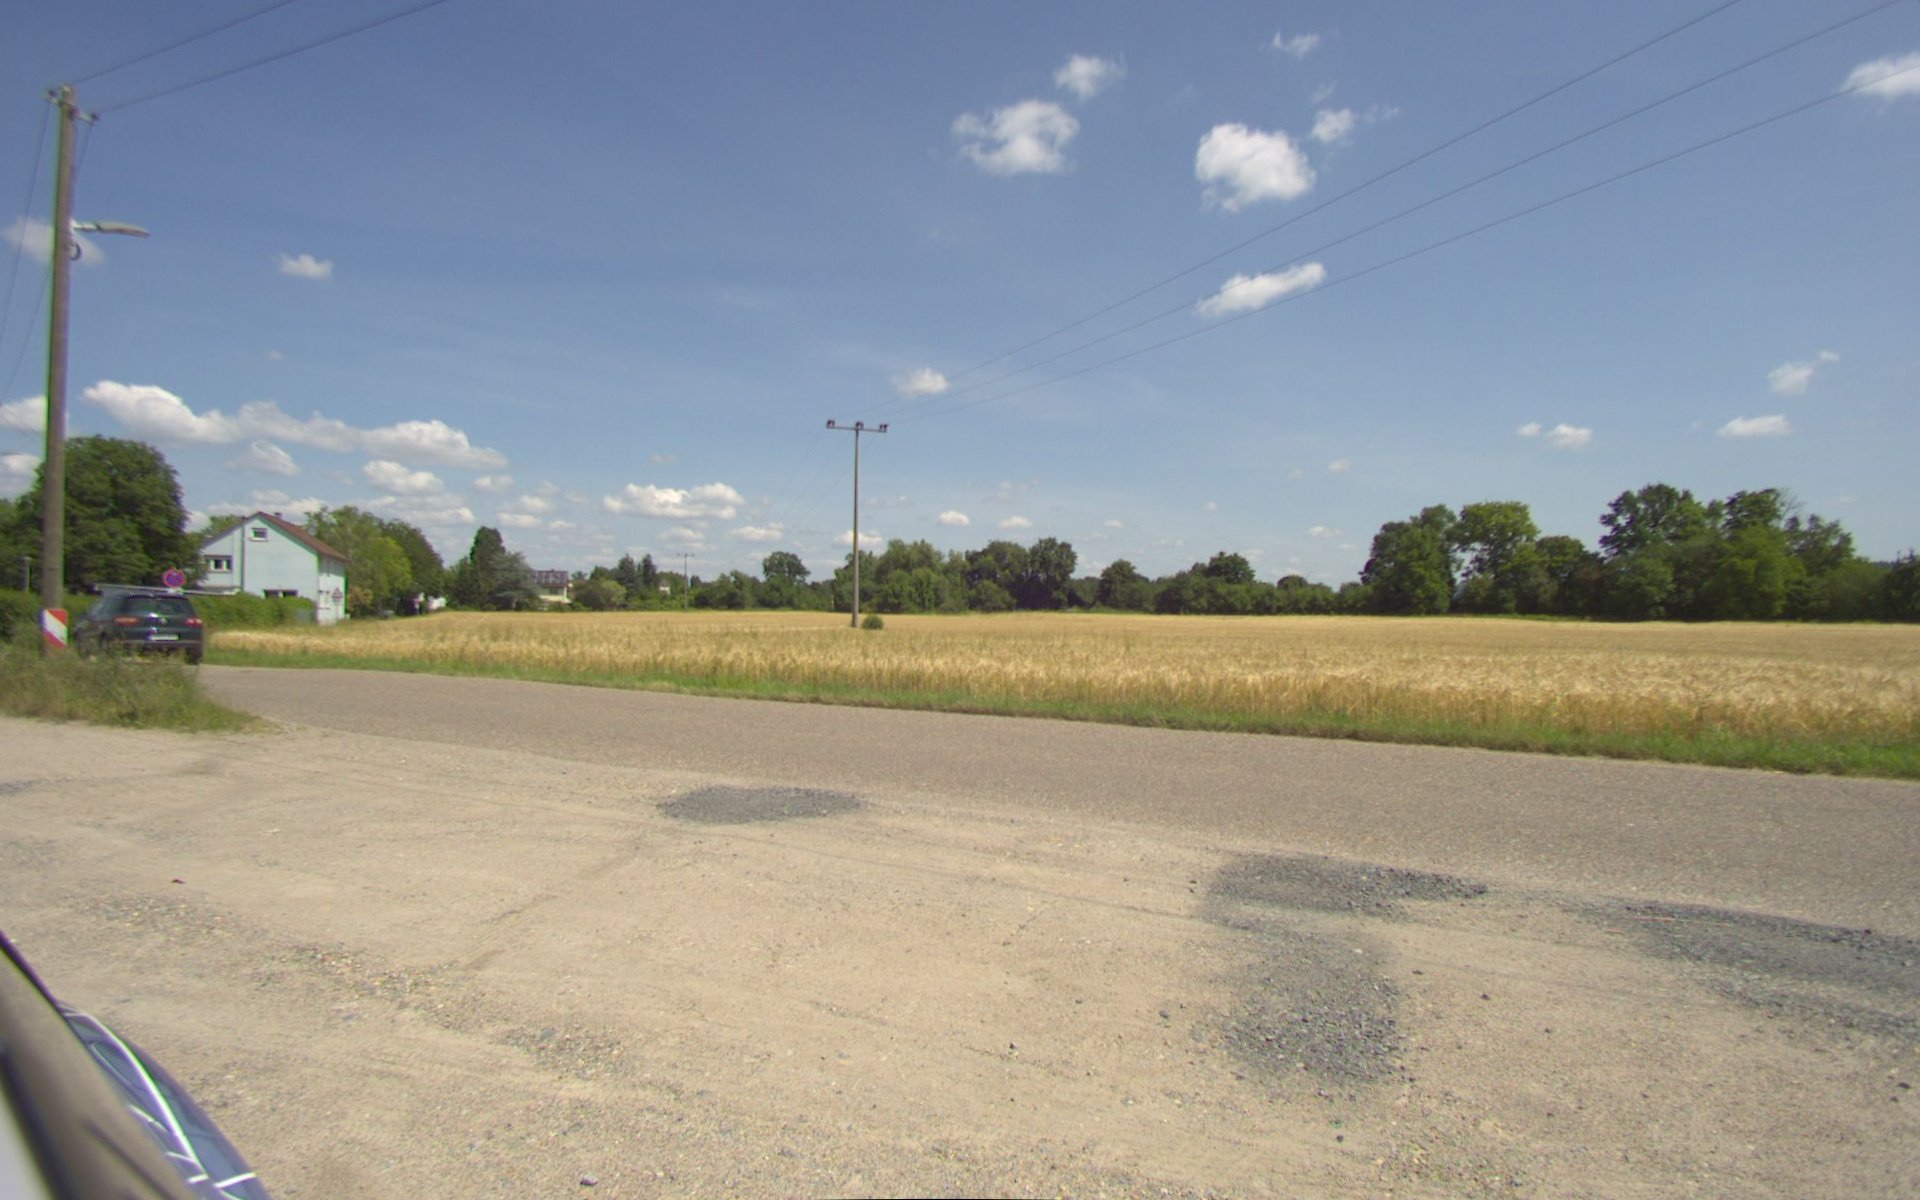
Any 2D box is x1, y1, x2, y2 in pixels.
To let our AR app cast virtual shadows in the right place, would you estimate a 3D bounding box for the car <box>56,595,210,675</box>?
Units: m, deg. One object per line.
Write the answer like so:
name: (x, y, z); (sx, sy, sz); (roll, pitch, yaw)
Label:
car: (-19.312, 0.741, 23.581); (4.245, 1.692, 1.729); (0, 0, 35)
